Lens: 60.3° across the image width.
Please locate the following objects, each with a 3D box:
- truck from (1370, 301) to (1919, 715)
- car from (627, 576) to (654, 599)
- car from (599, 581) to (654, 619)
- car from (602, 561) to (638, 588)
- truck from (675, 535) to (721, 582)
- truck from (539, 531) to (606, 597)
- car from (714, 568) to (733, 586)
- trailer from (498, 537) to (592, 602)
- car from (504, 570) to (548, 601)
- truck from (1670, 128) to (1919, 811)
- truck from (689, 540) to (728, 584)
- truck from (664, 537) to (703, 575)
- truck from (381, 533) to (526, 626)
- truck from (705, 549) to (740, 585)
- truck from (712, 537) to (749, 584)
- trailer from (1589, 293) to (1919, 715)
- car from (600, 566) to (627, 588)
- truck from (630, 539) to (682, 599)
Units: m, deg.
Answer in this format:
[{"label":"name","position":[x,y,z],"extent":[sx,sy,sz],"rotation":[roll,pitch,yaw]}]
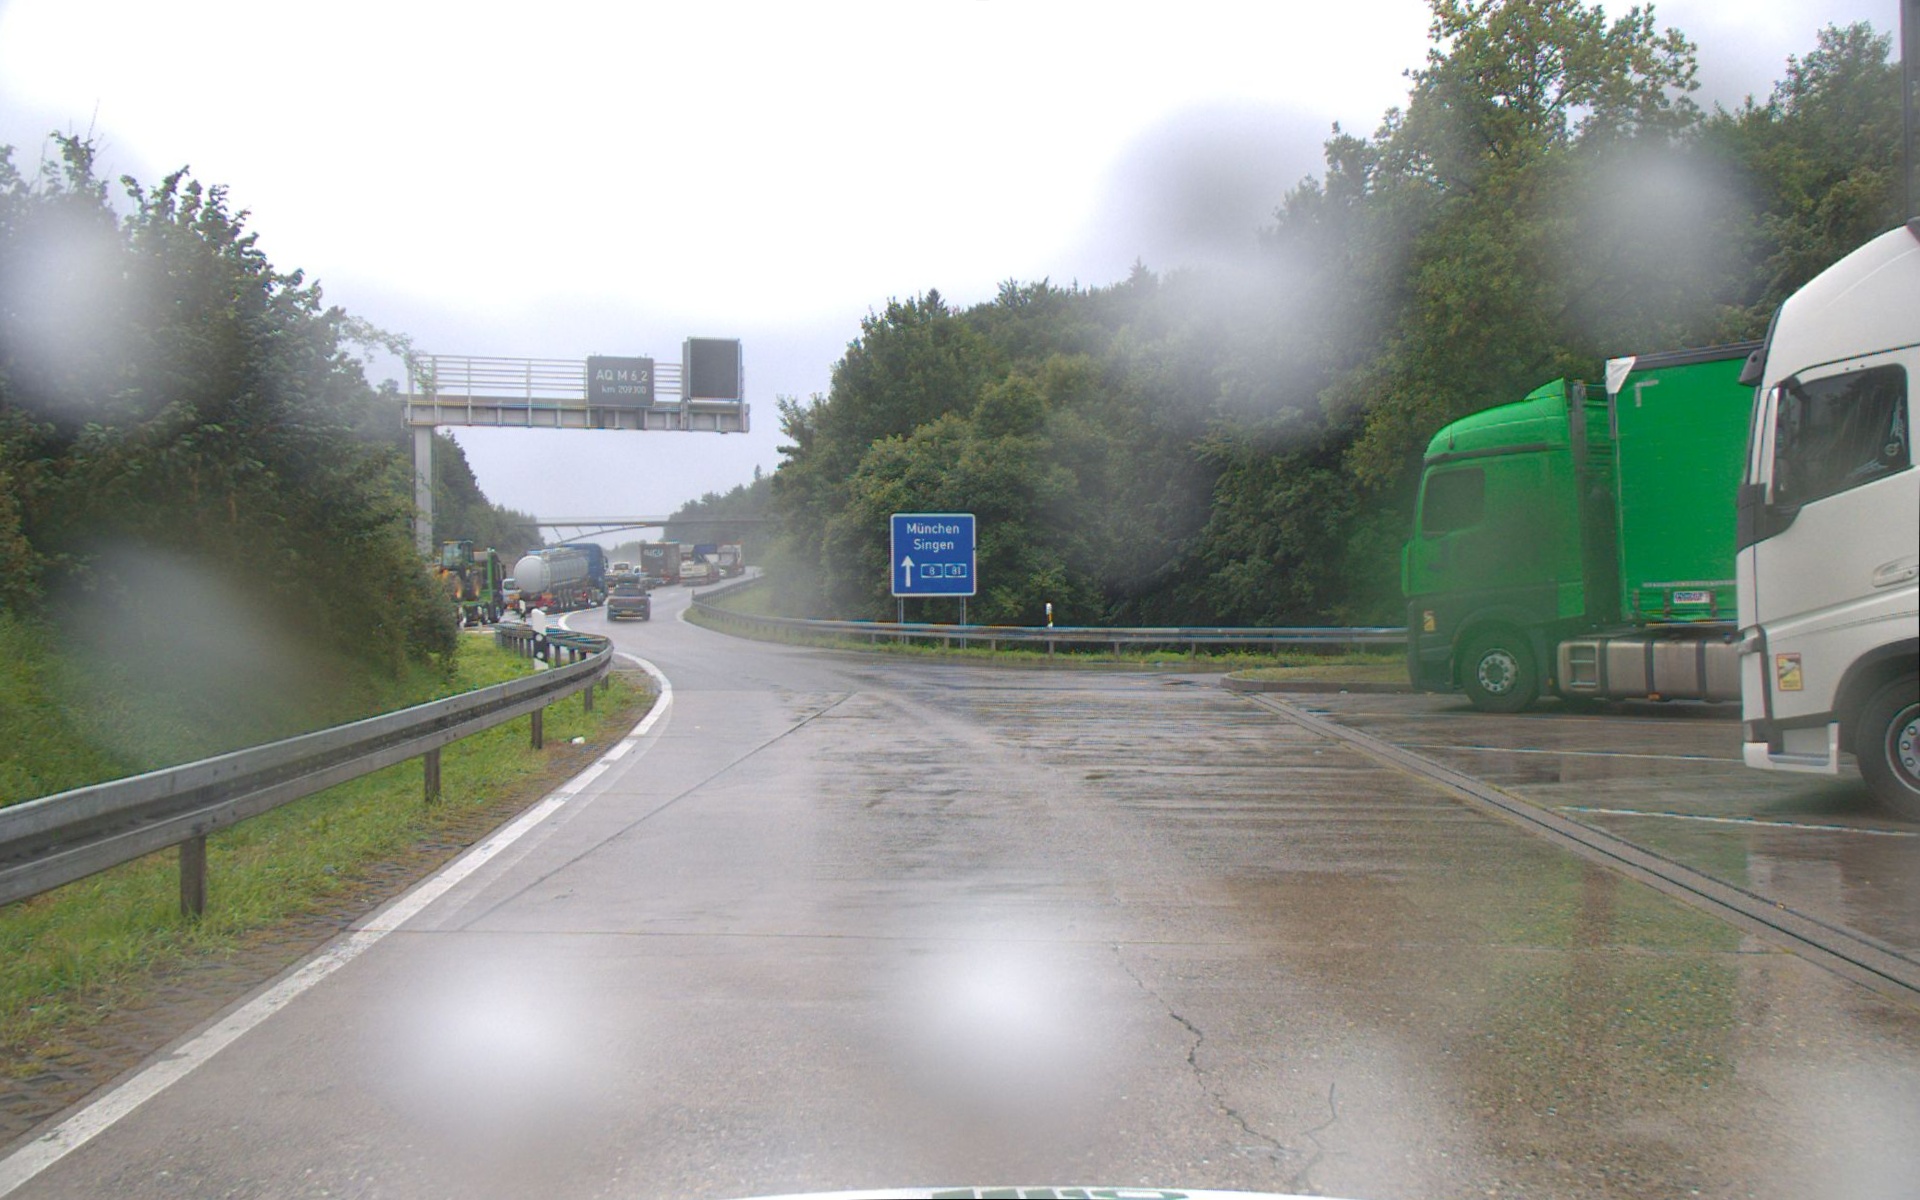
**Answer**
[{"label":"truck","position":[8.330,-0.903,19.957],"extent":[2.806,4.222,5.899],"rotation":[-2,0,-44]},{"label":"car","position":[-27.658,-1.051,143.263],"extent":[1.762,1.937,3.996],"rotation":[1,0,-5]},{"label":"car","position":[-15.343,-0.012,76.314],"extent":[1.954,1.665,3.996],"rotation":[2,0,-4]},{"label":"car","position":[-40.413,-3.021,196.842],"extent":[3.182,3.055,6.768],"rotation":[1,0,-4]},{"label":"truck","position":[-25.086,-4.026,158.894],"extent":[3.530,4.176,11.548],"rotation":[-2,2,-6]},{"label":"truck","position":[-23.217,-2.192,99.340],"extent":[2.819,3.757,5.055],"rotation":[-2,2,-2]},{"label":"car","position":[-26.521,-2.553,185.439],"extent":[1.763,1.937,3.996],"rotation":[-2,0,-5]},{"label":"trailer","position":[-23.044,-1.780,92.484],"extent":[2.815,3.345,10.077],"rotation":[-2,2,-1]},{"label":"car","position":[-26.332,-0.897,100.493],"extent":[1.783,1.797,3.998],"rotation":[-1,1,-3]},{"label":"truck","position":[7.702,-0.861,10.365],"extent":[2.804,4.218,5.219],"rotation":[-2,0,-43]},{"label":"truck","position":[-26.456,-3.916,174.533],"extent":[3.439,4.342,10.590],"rotation":[1,0,-6]},{"label":"truck","position":[-33.211,-5.227,199.206],"extent":[3.506,4.167,10.871],"rotation":[-2,0,-4]},{"label":"truck","position":[-22.079,-0.996,72.942],"extent":[2.773,3.650,11.797],"rotation":[-2,1,-1]},{"label":"truck","position":[-28.441,-3.916,198.481],"extent":[3.683,4.040,11.044],"rotation":[1,0,-6]},{"label":"truck","position":[-30.173,-5.155,217.697],"extent":[4.253,5.864,9.718],"rotation":[1,0,-6]},{"label":"trailer","position":[13.040,-1.076,15.018],"extent":[2.806,4.222,13.739],"rotation":[-2,0,-44]},{"label":"car","position":[-31.602,-2.058,150.828],"extent":[1.762,1.937,3.997],"rotation":[-2,0,-4]},{"label":"truck","position":[-29.892,-2.981,163.032],"extent":[3.680,5.595,10.165],"rotation":[1,0,-4]}]
